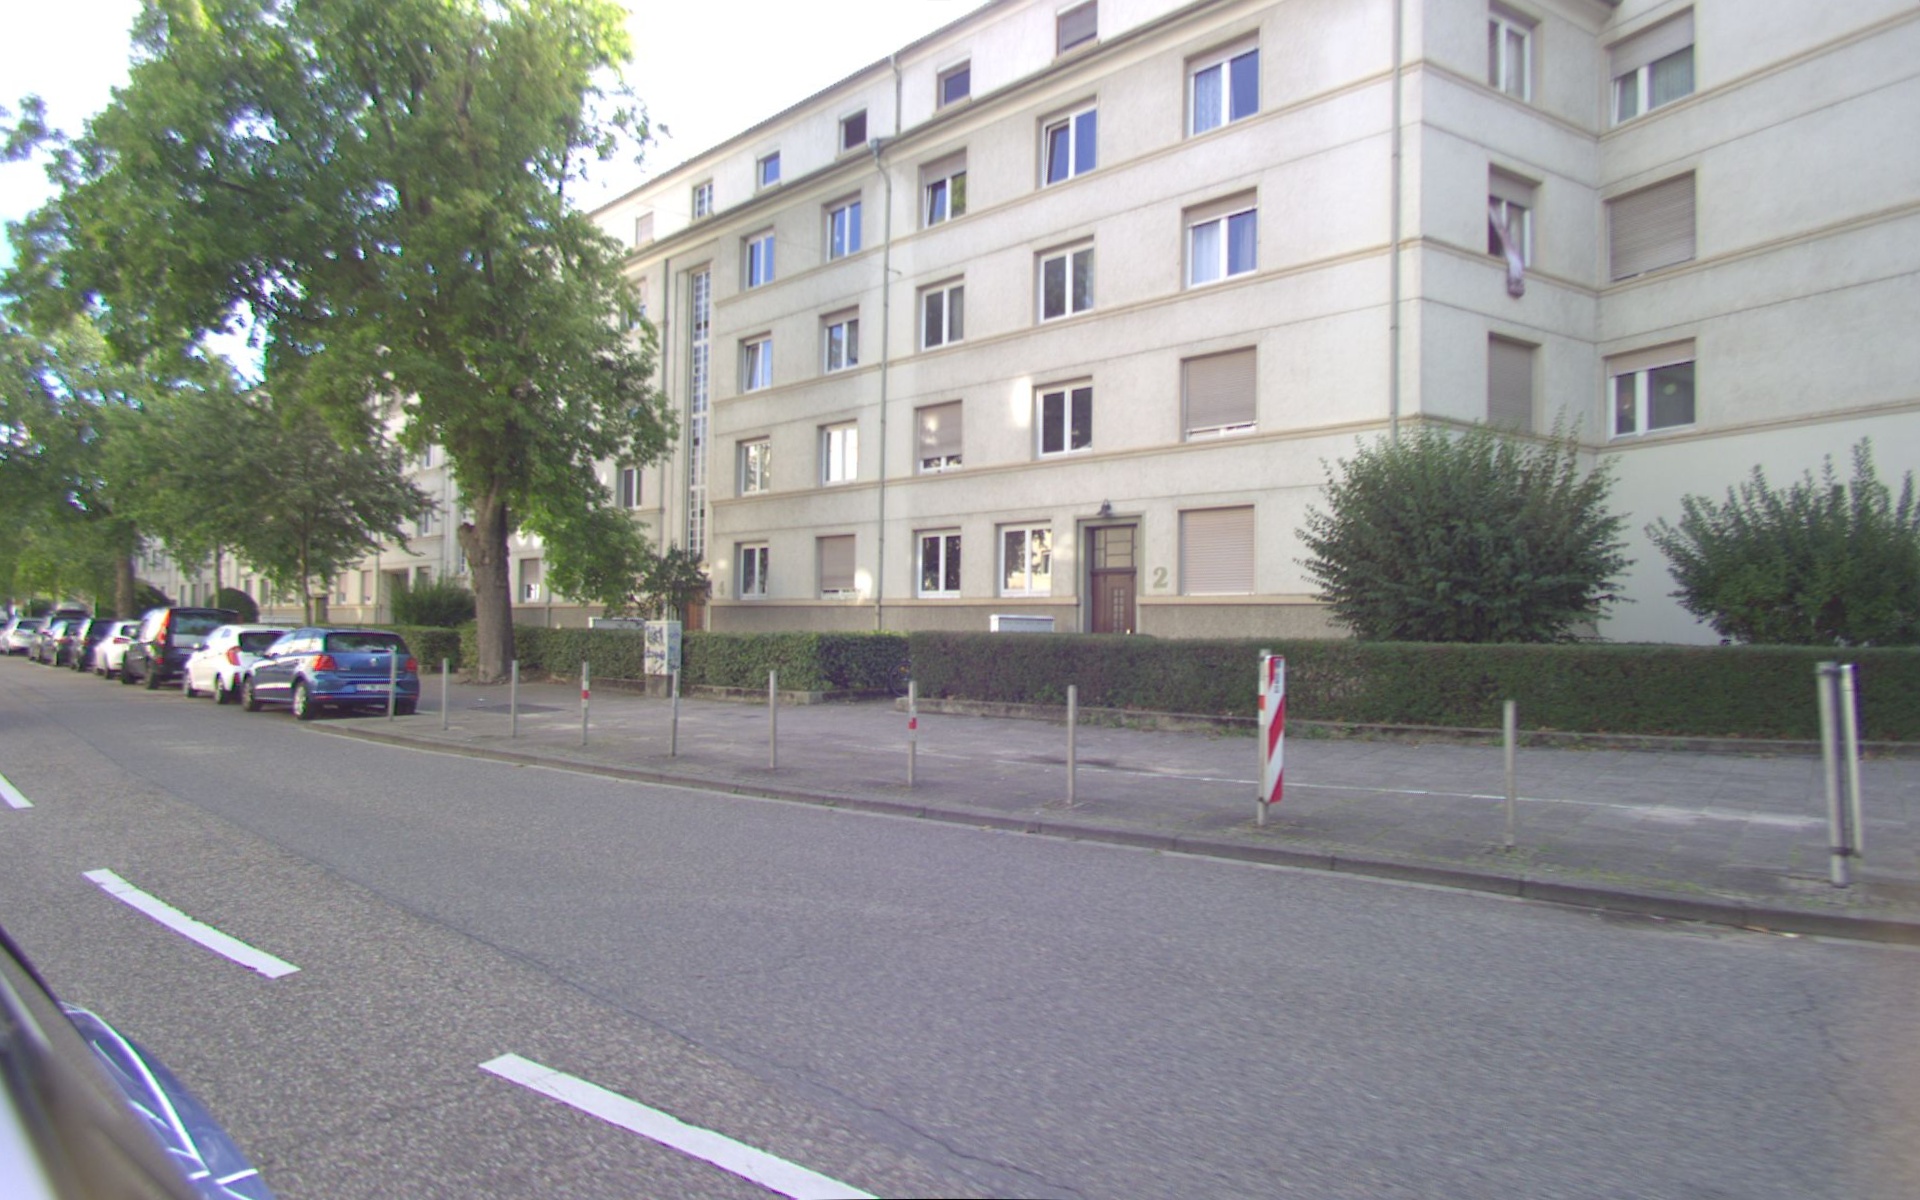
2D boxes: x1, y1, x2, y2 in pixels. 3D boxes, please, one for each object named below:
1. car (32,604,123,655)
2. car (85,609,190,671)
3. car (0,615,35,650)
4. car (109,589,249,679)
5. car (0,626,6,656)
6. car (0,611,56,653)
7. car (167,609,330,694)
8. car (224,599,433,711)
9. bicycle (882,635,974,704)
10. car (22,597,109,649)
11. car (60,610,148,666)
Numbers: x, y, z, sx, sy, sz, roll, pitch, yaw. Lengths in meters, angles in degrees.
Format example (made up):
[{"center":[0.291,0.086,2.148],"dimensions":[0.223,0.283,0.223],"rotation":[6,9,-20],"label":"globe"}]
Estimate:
[{"center":[-28.302,0.946,32.427],"dimensions":[3.847,1.498,1.682],"rotation":[-1,-5,43],"label":"car"},{"center":[-21.980,1.072,26.980],"dimensions":[4.334,1.504,1.675],"rotation":[-2,-4,45],"label":"car"},{"center":[-42.489,1.420,44.804],"dimensions":[4.010,1.479,1.598],"rotation":[-1,-5,40],"label":"car"},{"center":[-18.182,0.805,23.500],"dimensions":[4.190,1.897,1.705],"rotation":[-1,-4,41],"label":"car"},{"center":[-50.567,2.062,52.217],"dimensions":[4.453,1.492,1.666],"rotation":[-1,-6,45],"label":"car"},{"center":[-39.073,1.320,41.979],"dimensions":[3.991,1.632,1.721],"rotation":[-1,-5,40],"label":"car"},{"center":[-14.050,1.012,19.917],"dimensions":[3.802,1.505,1.780],"rotation":[-1,-5,43],"label":"car"},{"center":[-10.523,0.894,16.783],"dimensions":[3.800,1.632,1.781],"rotation":[-1,-5,40],"label":"car"},{"center":[-0.539,1.200,17.929],"dimensions":[0.597,1.140,1.849],"rotation":[-1,-2,38],"label":"bicycle"},{"center":[-32.047,0.830,36.201],"dimensions":[4.482,1.681,1.779],"rotation":[-1,-5,43],"label":"car"},{"center":[-25.287,1.111,29.862],"dimensions":[3.016,1.532,1.536],"rotation":[-1,-5,43],"label":"car"}]
